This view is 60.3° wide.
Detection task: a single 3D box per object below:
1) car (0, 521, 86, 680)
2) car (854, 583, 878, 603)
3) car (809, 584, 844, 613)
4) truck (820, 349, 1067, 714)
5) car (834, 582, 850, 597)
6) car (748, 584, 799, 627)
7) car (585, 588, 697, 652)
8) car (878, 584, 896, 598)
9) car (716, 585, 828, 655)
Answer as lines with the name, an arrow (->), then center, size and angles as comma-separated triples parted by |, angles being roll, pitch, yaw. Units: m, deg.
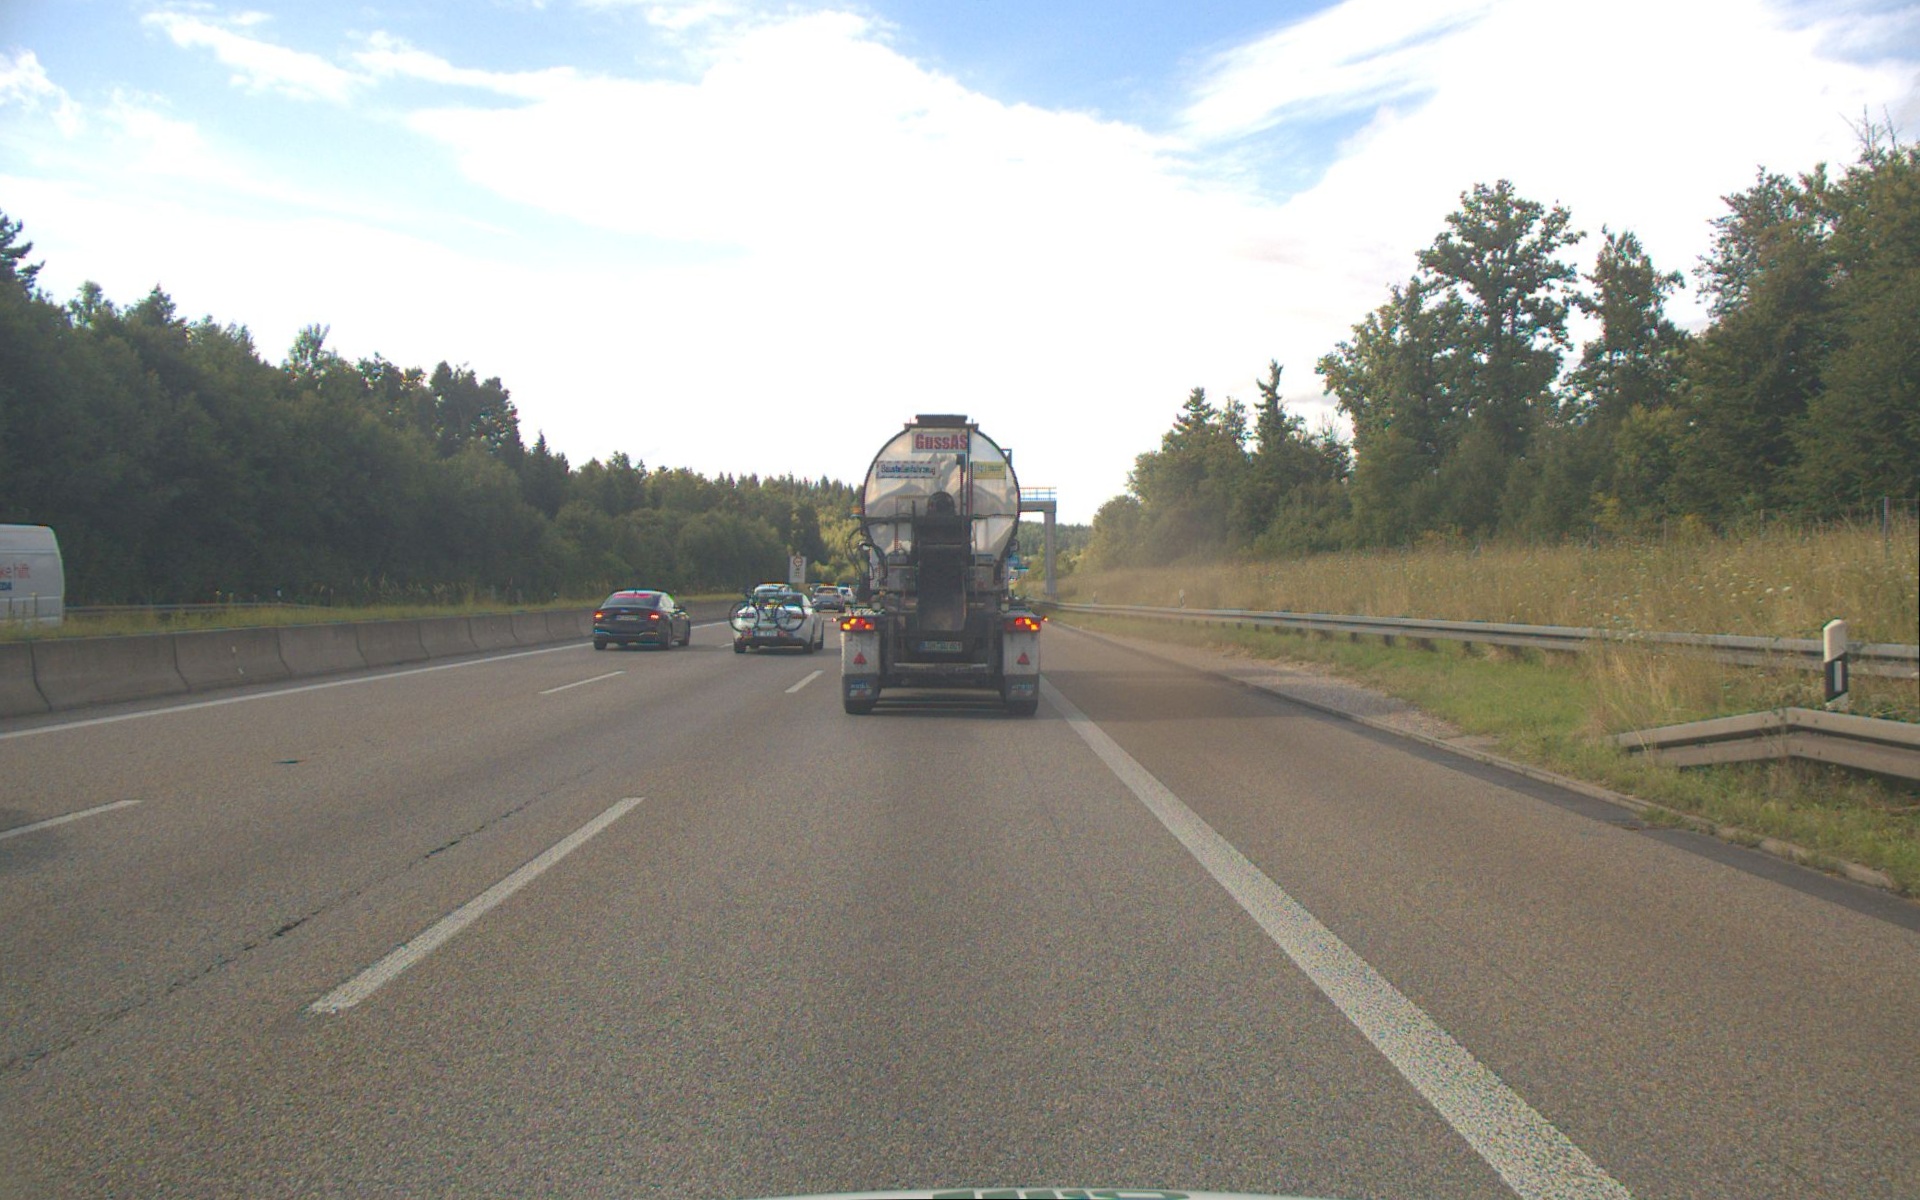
car -> -15.693, 0.002, 24.419 | 2.526, 2.387, 5.828 | 0, 0, -1
car -> -8.102, -0.644, 143.172 | 1.903, 1.613, 4.206 | 1, 1, -1
car -> -7.886, -0.098, 97.744 | 1.770, 1.613, 4.206 | 1, 1, -1
truck -> -0.213, -0.837, 24.879 | 2.853, 4.230, 11.269 | 0, 0, 0
car -> -16.083, -1.460, 225.162 | 1.953, 2.049, 4.071 | 0, 0, -1
car -> -7.072, 0.201, 62.974 | 1.585, 1.571, 3.519 | 1, 0, -1
car -> -7.721, 0.447, 40.459 | 1.818, 1.456, 4.840 | 0, 0, 0
car -> -8.257, -0.992, 187.767 | 1.903, 1.482, 4.206 | 1, 1, -1
car -> -4.342, 0.415, 39.009 | 2.018, 1.525, 5.735 | 0, 0, 0
